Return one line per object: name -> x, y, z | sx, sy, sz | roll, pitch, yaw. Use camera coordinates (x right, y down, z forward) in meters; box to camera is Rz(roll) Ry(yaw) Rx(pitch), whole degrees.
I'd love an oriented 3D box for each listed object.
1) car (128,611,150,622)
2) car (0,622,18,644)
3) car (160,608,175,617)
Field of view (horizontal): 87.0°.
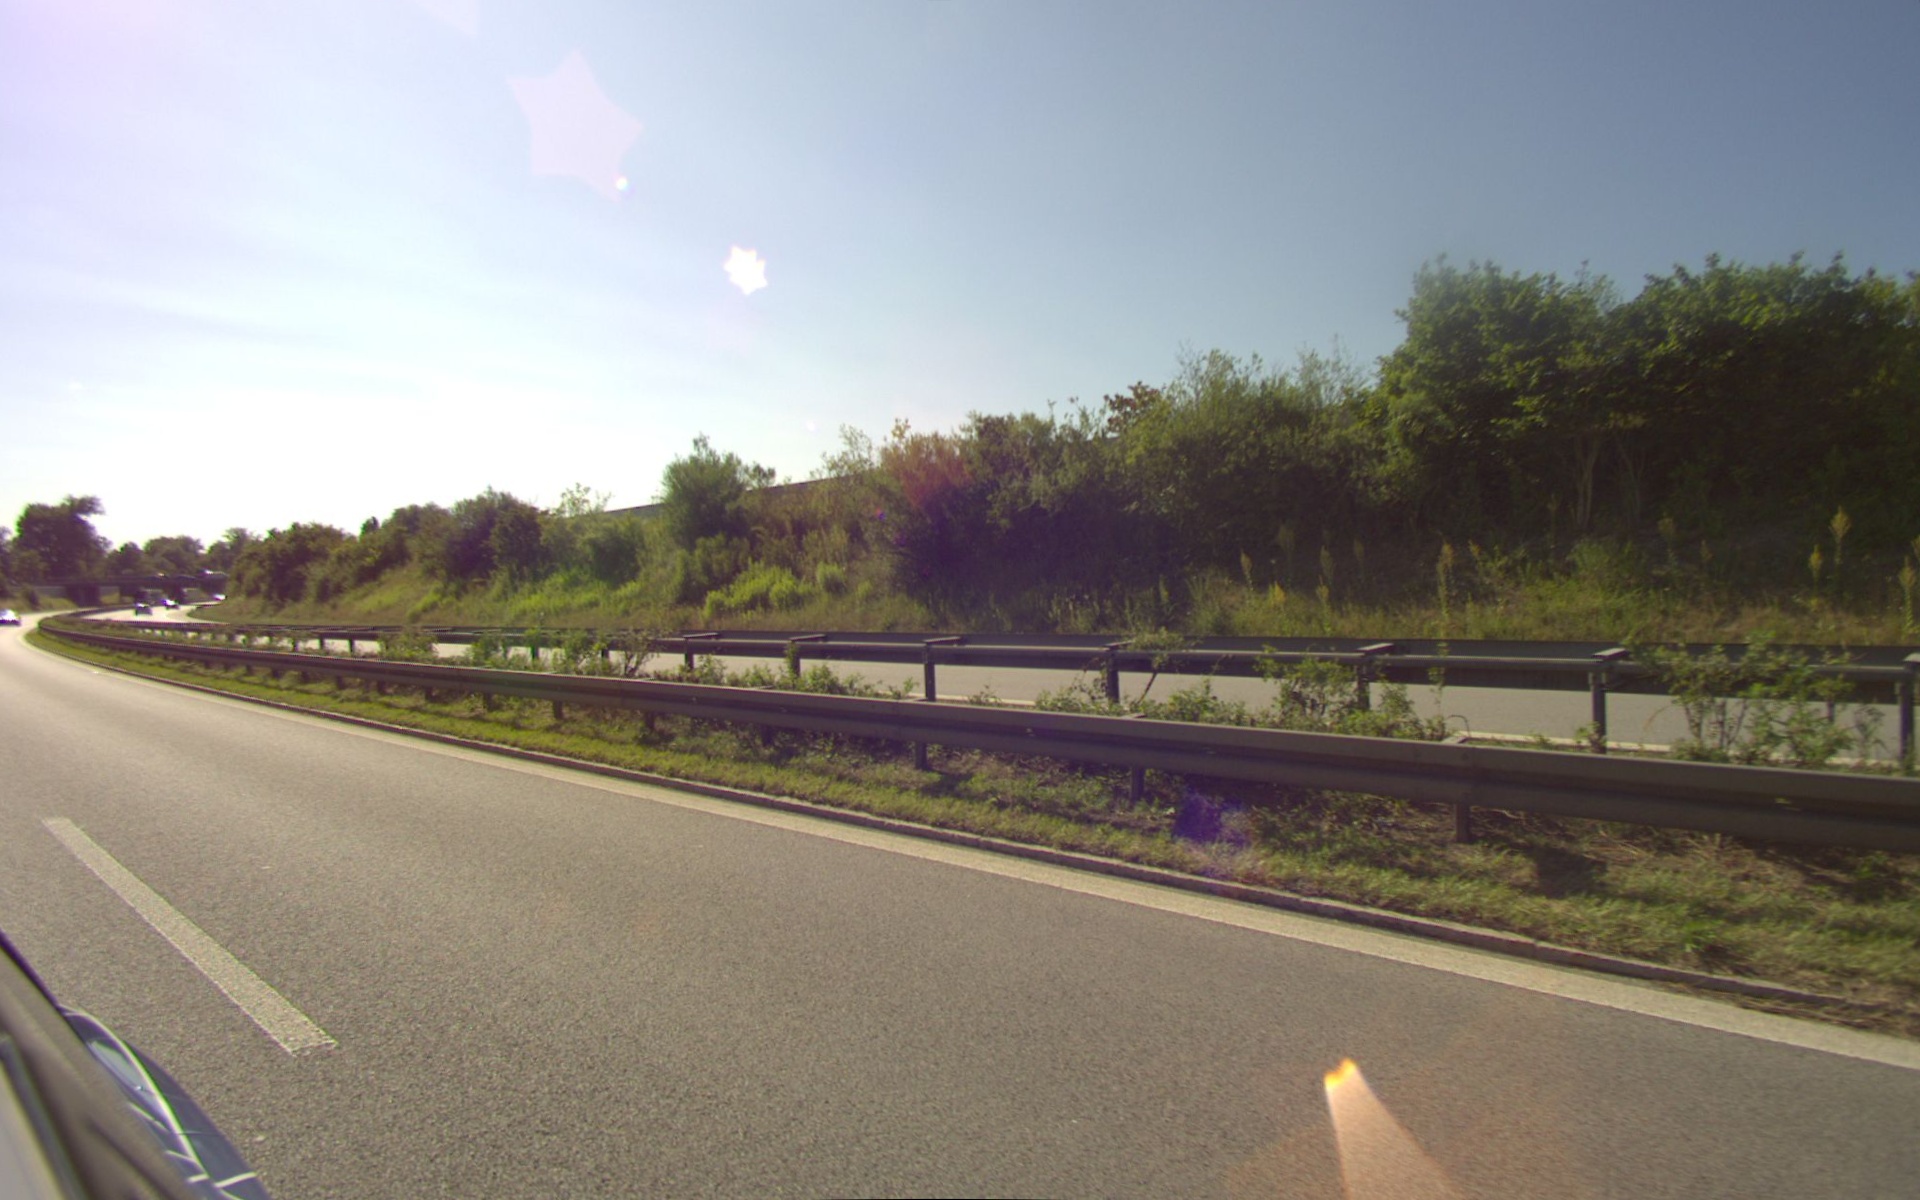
car -> -109.703, 2.162, 135.285 | 1.878, 1.433, 4.401 | 1, -2, -44
car -> -94.731, 3.295, 100.089 | 4.601, 2.028, 1.971 | -1, 2, 45
car -> -147.560, 2.374, 188.440 | 1.943, 1.576, 5.180 | 1, -1, -42
